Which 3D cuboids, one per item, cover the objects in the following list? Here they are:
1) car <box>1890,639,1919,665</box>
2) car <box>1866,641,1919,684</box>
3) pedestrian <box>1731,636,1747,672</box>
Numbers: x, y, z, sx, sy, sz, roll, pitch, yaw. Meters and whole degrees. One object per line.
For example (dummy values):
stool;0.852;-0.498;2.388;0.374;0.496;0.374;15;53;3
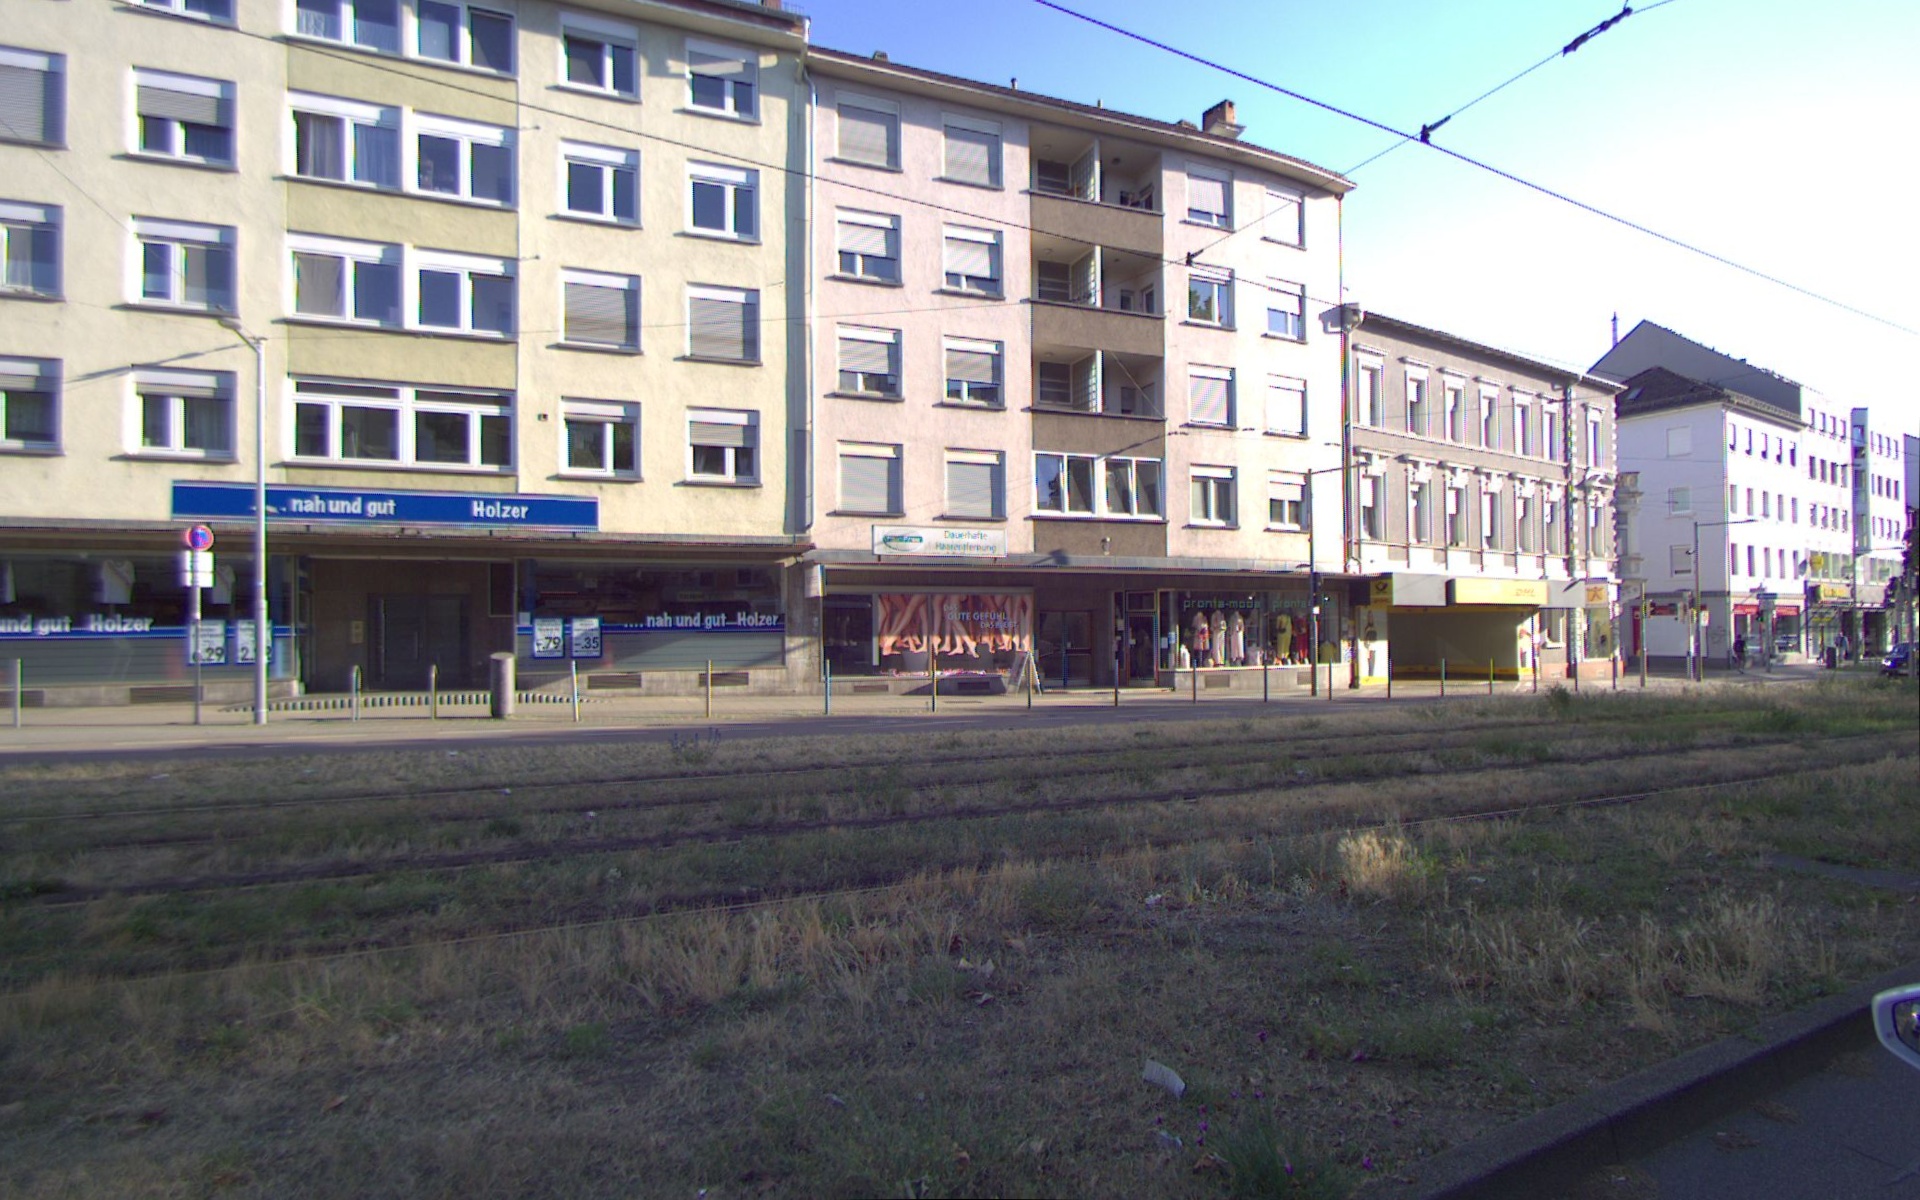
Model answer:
car;54.856;2.912;55.619;4.465;1.431;1.999;0;-2;24
car;35.247;2.295;37.007;3.433;1.528;1.716;1;-4;-29
pedestrian;36.885;2.553;47.565;0.501;1.736;0.424;1;-2;-26
